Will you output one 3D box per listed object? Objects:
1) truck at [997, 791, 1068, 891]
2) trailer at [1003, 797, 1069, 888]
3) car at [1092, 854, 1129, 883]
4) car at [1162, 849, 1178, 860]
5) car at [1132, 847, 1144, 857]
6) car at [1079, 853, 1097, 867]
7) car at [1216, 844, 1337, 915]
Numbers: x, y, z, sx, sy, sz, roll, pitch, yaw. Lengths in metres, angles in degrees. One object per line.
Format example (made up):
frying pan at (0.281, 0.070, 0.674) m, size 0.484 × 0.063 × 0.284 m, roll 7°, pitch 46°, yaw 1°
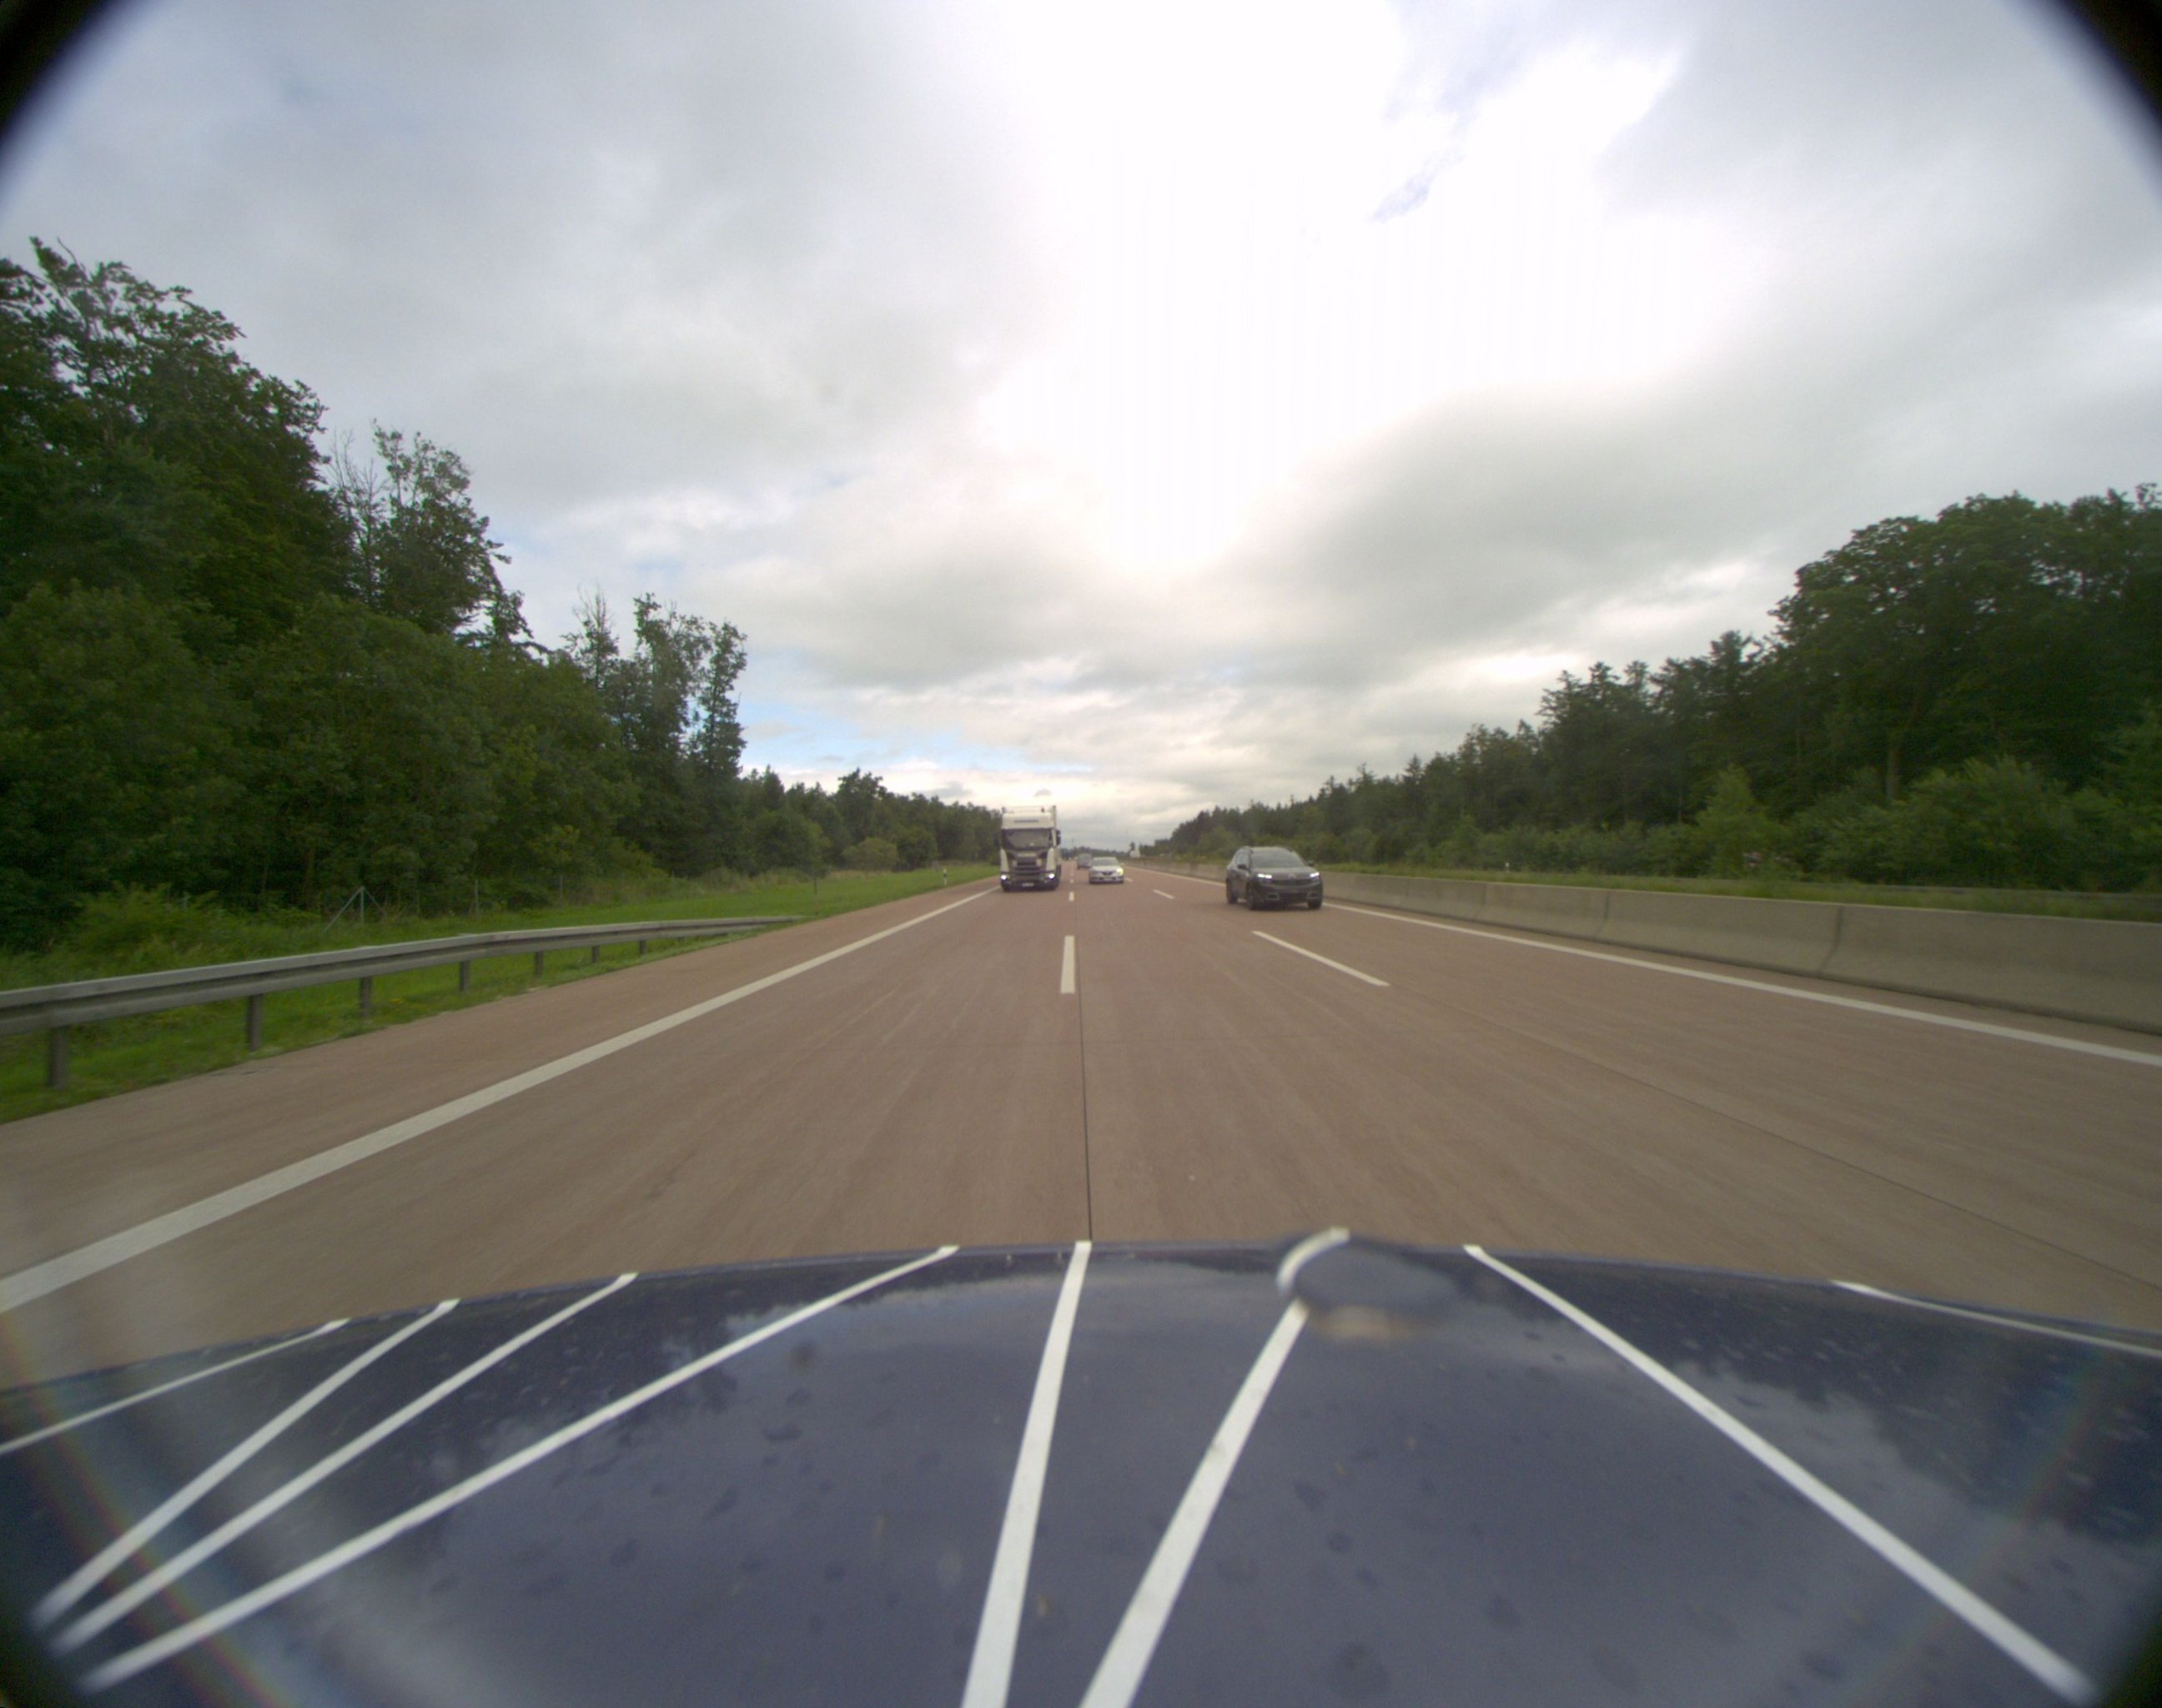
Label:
truck at (-2.176, -0.576, 35.921) m, size 2.929 × 4.269 × 5.334 m, roll -1°, pitch 1°, yaw -1°
trailer at (-2.259, -0.576, 42.843) m, size 2.929 × 4.269 × 13.611 m, roll -1°, pitch 0°, yaw -1°
car at (1.632, 0.775, 42.083) m, size 1.923 × 1.515 × 4.001 m, roll -2°, pitch 0°, yaw 2°
car at (16.344, 0.087, 139.842) m, size 2.228 × 2.002 × 6.377 m, roll -2°, pitch 0°, yaw 0°
car at (12.790, -0.448, 171.277) m, size 2.078 × 2.129 × 7.487 m, roll -2°, pitch 0°, yaw 1°
car at (0.797, 0.668, 89.666) m, size 1.986 × 1.499 × 4.052 m, roll -2°, pitch 0°, yaw 0°
car at (5.311, 0.614, 21.453) m, size 1.998 × 1.689 × 5.252 m, roll -2°, pitch 0°, yaw 0°
